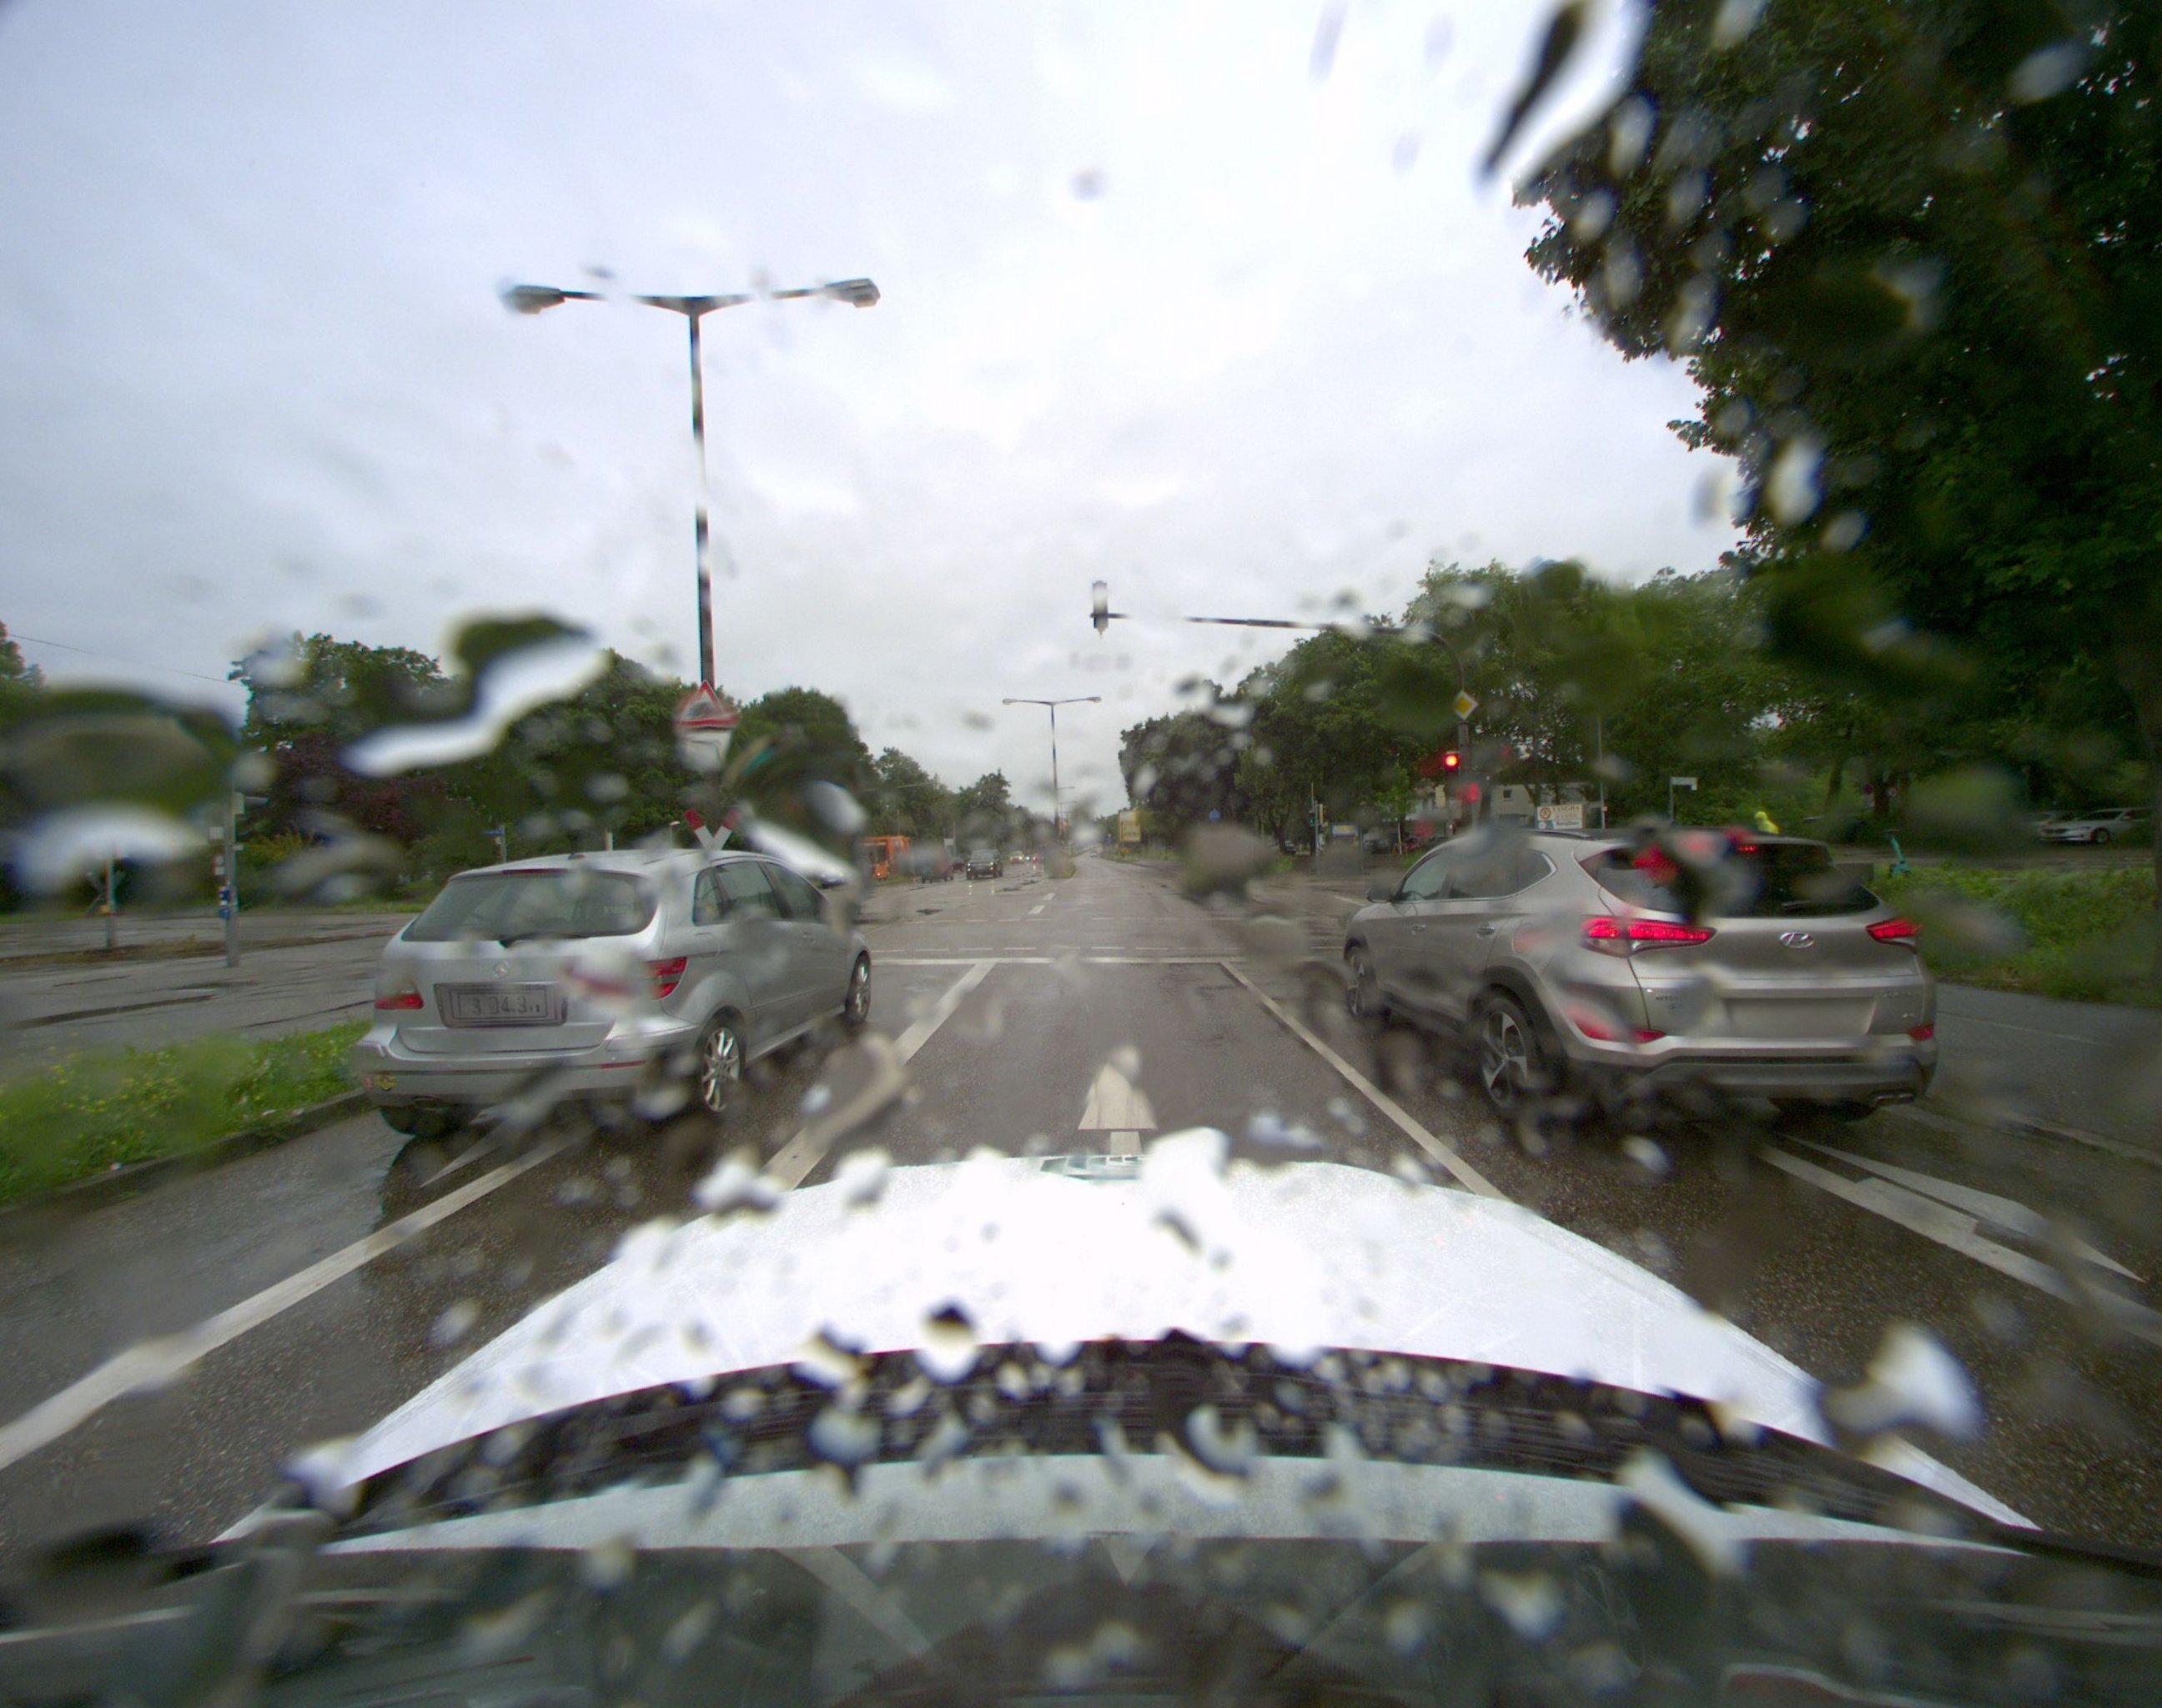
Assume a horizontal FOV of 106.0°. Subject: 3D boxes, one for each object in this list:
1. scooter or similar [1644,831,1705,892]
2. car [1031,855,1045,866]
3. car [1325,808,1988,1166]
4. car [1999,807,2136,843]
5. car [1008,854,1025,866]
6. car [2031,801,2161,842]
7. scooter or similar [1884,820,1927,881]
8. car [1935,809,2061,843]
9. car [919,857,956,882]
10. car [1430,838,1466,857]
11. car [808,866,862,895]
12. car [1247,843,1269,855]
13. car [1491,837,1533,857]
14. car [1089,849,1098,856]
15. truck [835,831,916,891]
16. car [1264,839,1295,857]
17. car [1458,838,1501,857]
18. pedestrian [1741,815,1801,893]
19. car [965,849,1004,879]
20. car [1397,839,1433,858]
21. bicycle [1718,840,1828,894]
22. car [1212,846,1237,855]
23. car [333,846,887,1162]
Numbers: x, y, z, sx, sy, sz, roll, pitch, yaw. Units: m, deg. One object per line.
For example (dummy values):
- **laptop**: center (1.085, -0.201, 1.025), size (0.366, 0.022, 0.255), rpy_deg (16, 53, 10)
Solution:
- **scooter or similar**: center (12.326, 0.155, 16.916), size (0.952, 1.229, 0.322), rpy_deg (-2, 0, 5)
- **car**: center (-6.304, 0.971, 120.258), size (1.795, 1.569, 4.428), rpy_deg (-4, -1, 0)
- **car**: center (3.225, 0.615, 5.792), size (1.877, 1.610, 4.198), rpy_deg (0, 0, 2)
- **car**: center (45.254, -1.302, 37.403), size (4.583, 1.583, 1.921), rpy_deg (0, 0, -8)
- **car**: center (-9.464, 0.852, 119.822), size (1.887, 1.611, 4.501), rpy_deg (-2, 0, 1)
- **car**: center (44.072, -1.372, 34.842), size (4.570, 1.630, 1.926), rpy_deg (0, 0, 0)
- **scooter or similar**: center (16.246, -0.077, 16.061), size (0.284, 1.176, 0.561), rpy_deg (-2, 0, 8)
- **car**: center (45.185, -1.349, 40.181), size (4.583, 1.583, 1.921), rpy_deg (0, 0, -8)
- **car**: center (-9.144, 0.971, 52.089), size (1.636, 1.427, 3.998), rpy_deg (-4, 0, -1)
- **car**: center (28.905, -0.461, 64.148), size (1.648, 1.449, 3.776), rpy_deg (-1, -1, 39)
- **car**: center (-15.755, 1.665, 52.434), size (1.986, 1.709, 4.528), rpy_deg (0, 0, 2)
- **car**: center (21.757, -0.607, 100.222), size (1.633, 1.486, 4.070), rpy_deg (0, 0, -1)
- **car**: center (32.110, -0.498, 60.627), size (3.772, 1.449, 1.584), rpy_deg (0, -1, -42)
- **car**: center (2.862, -0.328, 187.315), size (1.900, 1.515, 4.001), rpy_deg (-2, 0, 1)
- **truck**: center (-15.293, 0.507, 61.661), size (3.373, 4.167, 10.406), rpy_deg (0, 0, 1)
- **car**: center (21.122, -0.626, 86.817), size (1.988, 1.717, 4.876), rpy_deg (-3, 0, -1)
- **car**: center (30.434, -0.480, 62.144), size (3.772, 1.449, 1.650), rpy_deg (0, -1, -42)
- **pedestrian**: center (15.501, -0.010, 18.324), size (0.661, 1.678, 0.793), rpy_deg (-6, 0, 19)
- **car**: center (-6.212, 0.599, 52.983), size (1.799, 1.773, 5.089), rpy_deg (-3, 0, 0)
- **car**: center (26.854, -0.442, 65.488), size (1.648, 1.449, 3.776), rpy_deg (-1, -1, 39)
- **bicycle**: center (15.537, 0.297, 18.332), size (1.645, 1.038, 0.793), rpy_deg (-6, 0, 19)
- **car**: center (27.754, -0.671, 157.675), size (4.562, 1.645, 1.996), rpy_deg (0, 0, -5)
- **car**: center (-2.849, 0.750, 6.109), size (1.730, 1.544, 4.014), rpy_deg (-1, 0, 1)
